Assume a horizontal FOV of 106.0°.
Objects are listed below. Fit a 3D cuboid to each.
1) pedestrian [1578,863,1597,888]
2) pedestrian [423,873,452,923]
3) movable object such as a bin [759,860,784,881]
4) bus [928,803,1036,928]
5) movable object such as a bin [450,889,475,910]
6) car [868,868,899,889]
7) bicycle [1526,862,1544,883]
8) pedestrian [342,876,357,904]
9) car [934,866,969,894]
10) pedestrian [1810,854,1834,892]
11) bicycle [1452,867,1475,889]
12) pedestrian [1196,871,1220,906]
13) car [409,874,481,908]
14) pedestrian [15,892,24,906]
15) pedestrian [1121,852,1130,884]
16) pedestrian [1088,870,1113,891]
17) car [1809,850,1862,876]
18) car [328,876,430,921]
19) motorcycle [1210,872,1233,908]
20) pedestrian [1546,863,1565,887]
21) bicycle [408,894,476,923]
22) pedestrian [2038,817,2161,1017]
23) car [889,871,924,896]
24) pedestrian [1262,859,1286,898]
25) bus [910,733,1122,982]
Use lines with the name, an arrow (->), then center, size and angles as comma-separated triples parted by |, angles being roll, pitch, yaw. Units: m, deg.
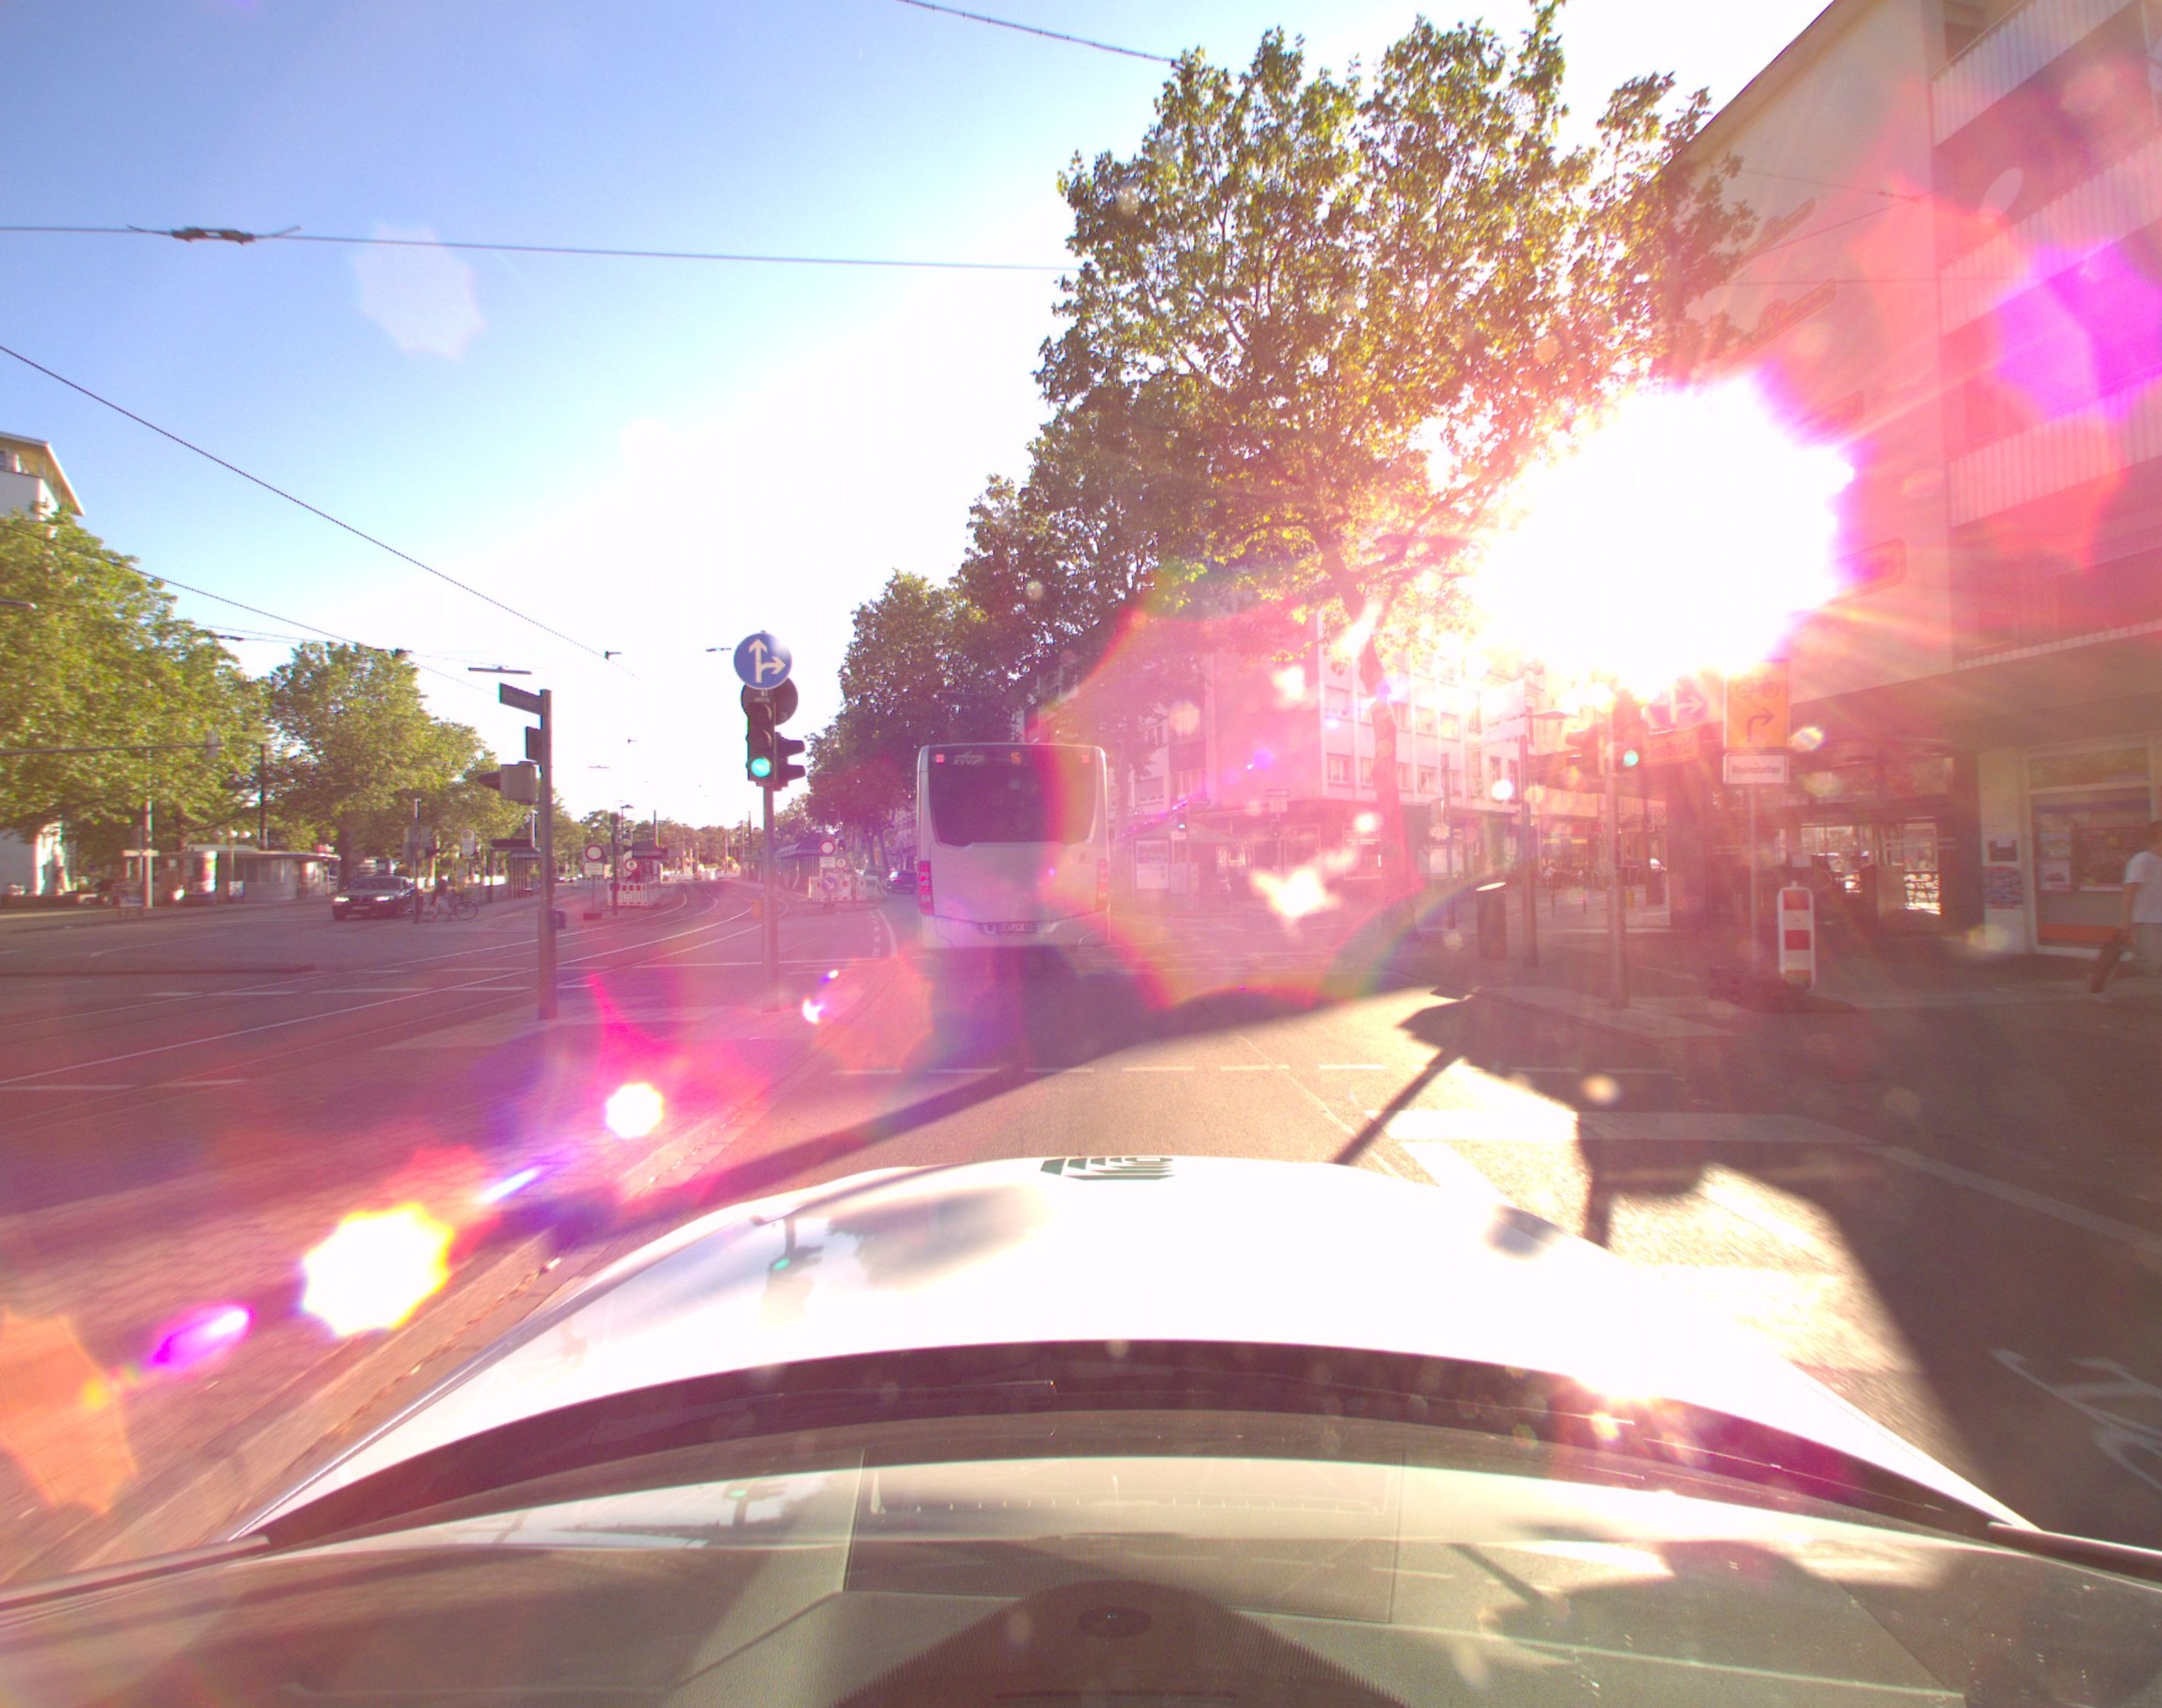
pedestrian -> 25.499, 1.089, 40.983 | 0.601, 1.243, 0.686 | 2, -1, -43
pedestrian -> -22.808, 1.556, 28.865 | 0.724, 1.725, 0.396 | -1, -1, -28
movable object such as a bin -> -38.996, 2.061, 102.608 | 2.506, 2.477, 5.310 | -1, -1, -25
bus -> -3.286, 0.382, 25.463 | 2.658, 3.099, 10.181 | -1, -1, -9
movable object such as a bin -> -26.340, 1.944, 34.683 | 0.674, 0.866, 0.697 | 1, -1, -24
car -> -15.231, 1.858, 62.564 | 1.763, 1.464, 3.970 | -1, -1, -22
bicycle -> 25.554, 1.035, 45.814 | 1.728, 1.040, 0.291 | -3, -1, -41
pedestrian -> -52.643, 2.584, 58.639 | 0.713, 2.014, 0.735 | 0, -1, -34
car -> -8.164, 1.601, 51.146 | 1.764, 1.628, 3.591 | -1, -1, -17
pedestrian -> 31.120, 0.793, 34.204 | 0.698, 1.576, 0.658 | 2, -1, -40
bicycle -> 18.785, 1.156, 39.959 | 1.727, 1.041, 0.291 | 0, -4, -41
pedestrian -> 4.689, 1.270, 30.085 | 0.552, 1.243, 0.727 | 1, -1, -20
car -> -31.436, 1.797, 40.394 | 1.895, 1.531, 4.172 | -1, -1, -24
pedestrian -> -83.663, 3.514, 64.167 | 0.384, 1.072, 0.395 | -2, -2, 44
pedestrian -> 2.385, 0.760, 43.803 | 0.358, 1.718, 0.307 | 1, -1, -15
pedestrian -> 1.115, 1.512, 46.837 | 1.182, 1.197, 0.919 | -1, -1, -22
car -> 49.740, 0.580, 53.676 | 4.017, 1.662, 1.822 | 1, -1, -36
car -> -27.382, 1.673, 31.928 | 1.895, 1.585, 4.172 | -1, -1, -24
motorcycle -> 4.633, 1.174, 26.876 | 0.567, 1.158, 1.462 | 1, -1, 3
pedestrian -> 24.550, 1.084, 42.132 | 0.549, 1.243, 0.731 | 1, -1, -5
bicycle -> -22.961, 1.940, 29.288 | 1.851, 0.942, 0.459 | -1, -1, -28
pedestrian -> 9.678, 0.537, 7.474 | 0.835, 1.712, 0.790 | -3, 0, -10
car -> -10.912, 1.792, 50.758 | 1.760, 1.464, 3.976 | -1, -1, -18
pedestrian -> 7.853, 1.004, 33.191 | 0.607, 1.548, 0.708 | 2, -1, -39
bus -> -1.626, 0.137, 15.409 | 2.658, 3.099, 10.181 | -1, -1, -9
